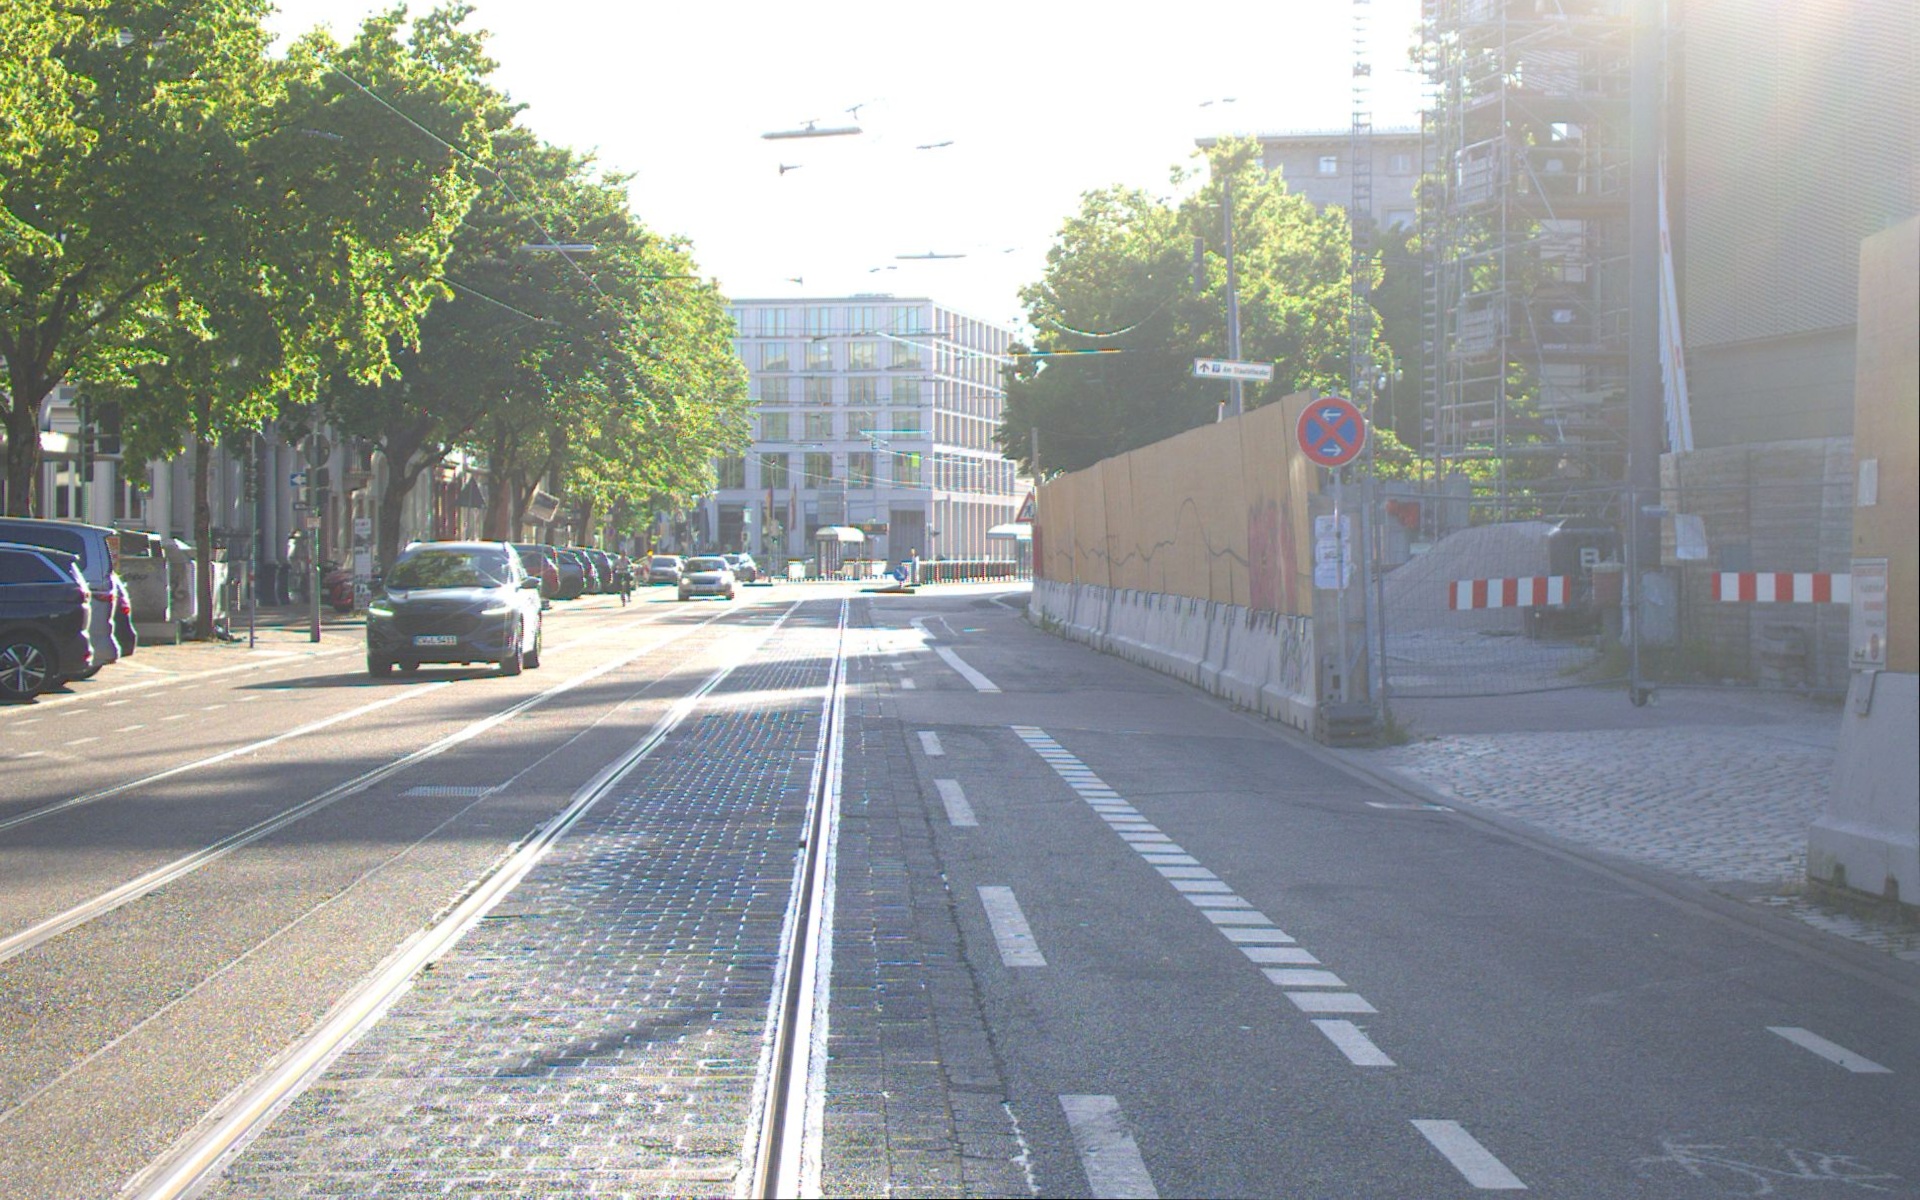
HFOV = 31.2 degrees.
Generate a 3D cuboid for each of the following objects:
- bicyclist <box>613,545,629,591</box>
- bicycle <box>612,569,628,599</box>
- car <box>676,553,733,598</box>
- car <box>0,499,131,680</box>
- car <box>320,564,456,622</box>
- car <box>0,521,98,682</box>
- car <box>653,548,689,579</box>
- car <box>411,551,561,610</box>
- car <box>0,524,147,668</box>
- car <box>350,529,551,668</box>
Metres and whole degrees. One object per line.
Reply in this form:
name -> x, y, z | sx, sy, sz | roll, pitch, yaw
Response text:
bicyclist -> -10.152, -0.968, 102.989 | 0.457, 1.373, 0.641 | 0, 0, -6
bicycle -> -10.176, -0.494, 102.996 | 0.449, 0.878, 1.901 | 0, 1, -6
car -> -8.286, -0.802, 111.778 | 1.709, 1.431, 4.171 | 0, 1, -2
car -> -11.793, -0.170, 38.913 | 4.353, 1.980, 1.950 | 2, 0, -23
car -> -13.540, -0.174, 81.453 | 2.933, 1.327, 1.215 | -1, 1, -29
car -> -11.434, 0.030, 36.397 | 4.234, 1.679, 1.811 | -1, 1, -22
car -> -14.270, -1.793, 169.817 | 1.572, 1.485, 4.000 | 0, 0, -1
car -> -14.221, -0.589, 103.182 | 4.159, 1.715, 1.584 | 1, 0, -29
car -> -12.239, -0.109, 41.642 | 4.281, 1.661, 1.912 | 3, 0, -25
car -> -6.275, -0.060, 42.771 | 1.927, 1.624, 4.249 | -1, 1, -1
